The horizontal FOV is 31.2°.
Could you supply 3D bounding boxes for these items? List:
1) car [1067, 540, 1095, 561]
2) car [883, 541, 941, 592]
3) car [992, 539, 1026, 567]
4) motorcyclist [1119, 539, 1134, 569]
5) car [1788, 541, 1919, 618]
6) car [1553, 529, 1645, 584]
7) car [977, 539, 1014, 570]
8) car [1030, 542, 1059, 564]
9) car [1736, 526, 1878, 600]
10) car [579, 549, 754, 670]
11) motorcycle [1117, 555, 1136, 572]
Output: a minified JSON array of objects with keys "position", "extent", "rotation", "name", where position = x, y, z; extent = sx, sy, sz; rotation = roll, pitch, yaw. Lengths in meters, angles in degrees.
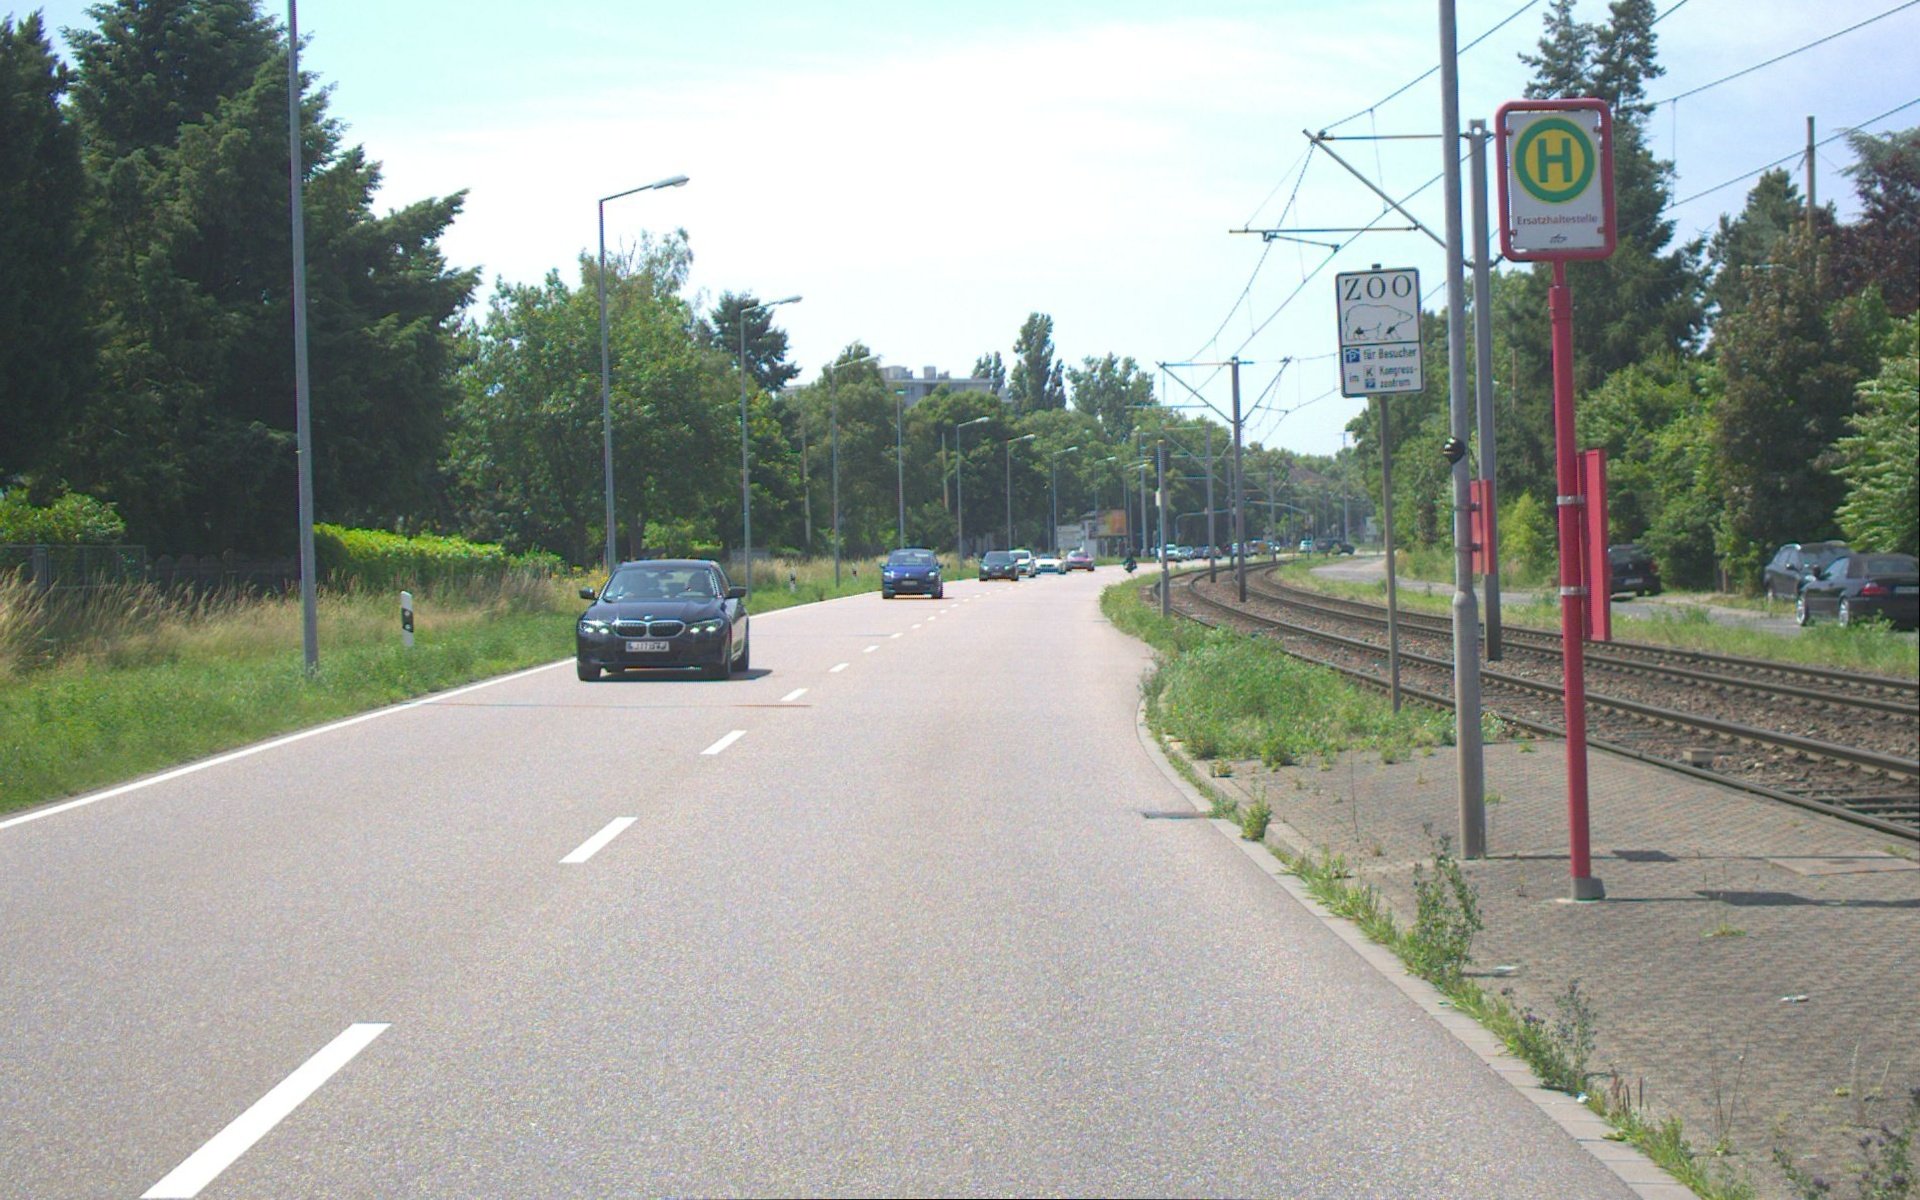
[{"position":[7.932,-3.241,225.300],"extent":[1.749,1.296,4.253],"rotation":[0,1,3],"name":"car"},{"position":[-1.564,-1.098,112.241],"extent":[1.747,1.626,4.030],"rotation":[0,1,1],"name":"car"},{"position":[2.652,-2.554,186.952],"extent":[1.747,1.498,3.707],"rotation":[0,1,2],"name":"car"},{"position":[10.523,-2.928,217.515],"extent":[0.892,1.898,1.015],"rotation":[0,1,6],"name":"motorcyclist"},{"position":[16.251,-0.389,61.302],"extent":[1.861,1.325,4.515],"rotation":[0,1,0],"name":"car"},{"position":[17.497,-1.194,94.282],"extent":[1.914,1.465,4.000],"rotation":[0,1,2],"name":"car"},{"position":[1.774,-2.246,170.290],"extent":[1.700,1.486,4.440],"rotation":[0,1,2],"name":"car"},{"position":[5.091,-2.826,206.648],"extent":[1.682,1.245,3.909],"rotation":[0,1,2],"name":"car"},{"position":[18.402,-0.809,74.868],"extent":[1.934,1.555,4.556],"rotation":[0,1,0],"name":"car"},{"position":[-3.564,0.080,42.488],"extent":[1.706,1.399,4.707],"rotation":[0,1,1],"name":"car"},{"position":[10.556,-2.314,217.814],"extent":[0.970,1.113,2.732],"rotation":[0,1,6],"name":"motorcycle"}]
